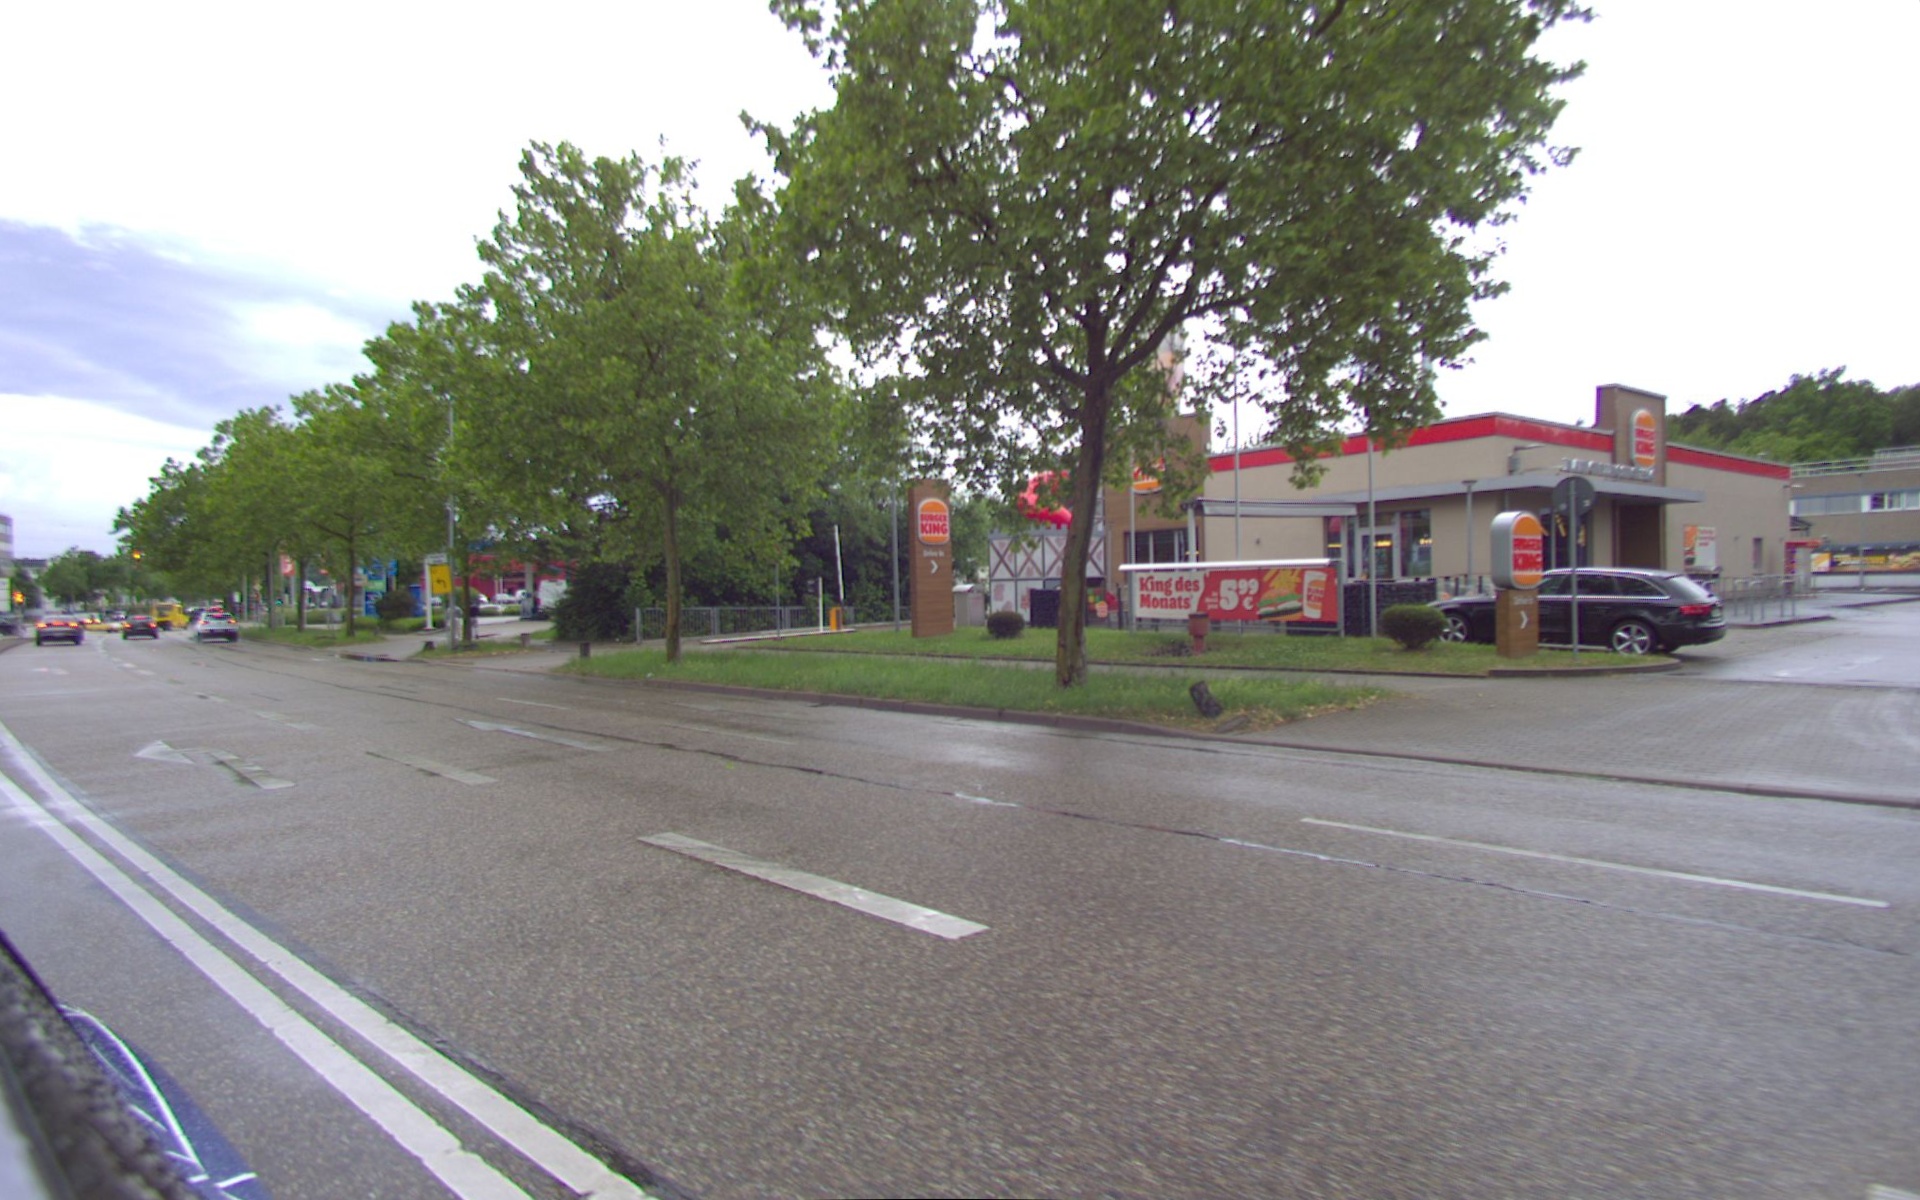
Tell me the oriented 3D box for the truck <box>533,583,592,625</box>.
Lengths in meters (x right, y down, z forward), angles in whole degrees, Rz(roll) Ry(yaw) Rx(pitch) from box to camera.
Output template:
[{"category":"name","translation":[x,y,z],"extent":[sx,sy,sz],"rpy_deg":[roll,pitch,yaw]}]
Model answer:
[{"category":"truck","translation":[-26.856,0.329,68.726],"extent":[2.121,2.695,7.888],"rpy_deg":[-1,-1,-9]}]

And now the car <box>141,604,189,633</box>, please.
[{"category":"car","translation":[-73.123,1.718,93.195],"extent":[2.208,2.492,5.031],"rpy_deg":[-3,0,-24]}]

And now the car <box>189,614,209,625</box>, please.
[{"category":"car","translation":[-97.088,2.508,129.206],"extent":[1.758,1.415,4.011],"rpy_deg":[0,-1,-33]}]

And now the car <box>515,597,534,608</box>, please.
[{"category":"car","translation":[-55.303,0.330,128.521],"extent":[1.645,1.391,3.920],"rpy_deg":[0,-1,-33]}]

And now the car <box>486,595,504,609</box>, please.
[{"category":"car","translation":[-59.667,0.275,129.811],"extent":[1.645,1.658,3.837],"rpy_deg":[0,-1,-33]}]

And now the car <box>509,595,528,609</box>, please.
[{"category":"car","translation":[-57.576,0.265,131.922],"extent":[1.605,1.658,3.837],"rpy_deg":[0,-1,-33]}]

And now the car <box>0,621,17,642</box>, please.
[{"category":"car","translation":[-73.598,2.413,76.039],"extent":[3.940,1.552,1.816],"rpy_deg":[-1,1,-44]}]

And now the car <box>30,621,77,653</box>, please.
[{"category":"car","translation":[-48.406,1.951,54.027],"extent":[1.790,1.574,4.603],"rpy_deg":[0,0,-43]}]

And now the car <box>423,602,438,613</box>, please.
[{"category":"car","translation":[-80.776,1.129,154.428],"extent":[1.669,1.658,3.973],"rpy_deg":[0,-1,-33]}]

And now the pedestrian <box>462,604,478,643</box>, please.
[{"category":"pedestrian","translation":[-21.801,1.048,45.006],"extent":[0.541,1.695,0.506],"rpy_deg":[-2,-1,44]}]

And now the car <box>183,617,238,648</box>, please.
[{"category":"car","translation":[-41.842,1.790,56.469],"extent":[1.906,1.631,4.402],"rpy_deg":[0,0,-44]}]

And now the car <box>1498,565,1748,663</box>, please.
[{"category":"car","translation":[10.935,0.150,16.830],"extent":[1.416,1.437,3.197],"rpy_deg":[-2,3,-40]}]

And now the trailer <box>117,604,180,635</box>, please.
[{"category":"trailer","translation":[-70.902,1.719,88.597],"extent":[2.271,2.492,7.997],"rpy_deg":[-3,0,-24]}]

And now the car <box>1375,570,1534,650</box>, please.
[{"category":"car","translation":[8.687,0.142,17.685],"extent":[3.136,1.163,1.293],"rpy_deg":[-4,2,-40]}]

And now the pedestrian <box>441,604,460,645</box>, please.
[{"category":"pedestrian","translation":[-22.297,1.074,44.305],"extent":[0.655,1.780,0.585],"rpy_deg":[-2,0,-24]}]

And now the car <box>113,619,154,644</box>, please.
[{"category":"car","translation":[-53.563,2.033,65.569],"extent":[1.968,1.520,4.738],"rpy_deg":[0,-2,-40]}]
